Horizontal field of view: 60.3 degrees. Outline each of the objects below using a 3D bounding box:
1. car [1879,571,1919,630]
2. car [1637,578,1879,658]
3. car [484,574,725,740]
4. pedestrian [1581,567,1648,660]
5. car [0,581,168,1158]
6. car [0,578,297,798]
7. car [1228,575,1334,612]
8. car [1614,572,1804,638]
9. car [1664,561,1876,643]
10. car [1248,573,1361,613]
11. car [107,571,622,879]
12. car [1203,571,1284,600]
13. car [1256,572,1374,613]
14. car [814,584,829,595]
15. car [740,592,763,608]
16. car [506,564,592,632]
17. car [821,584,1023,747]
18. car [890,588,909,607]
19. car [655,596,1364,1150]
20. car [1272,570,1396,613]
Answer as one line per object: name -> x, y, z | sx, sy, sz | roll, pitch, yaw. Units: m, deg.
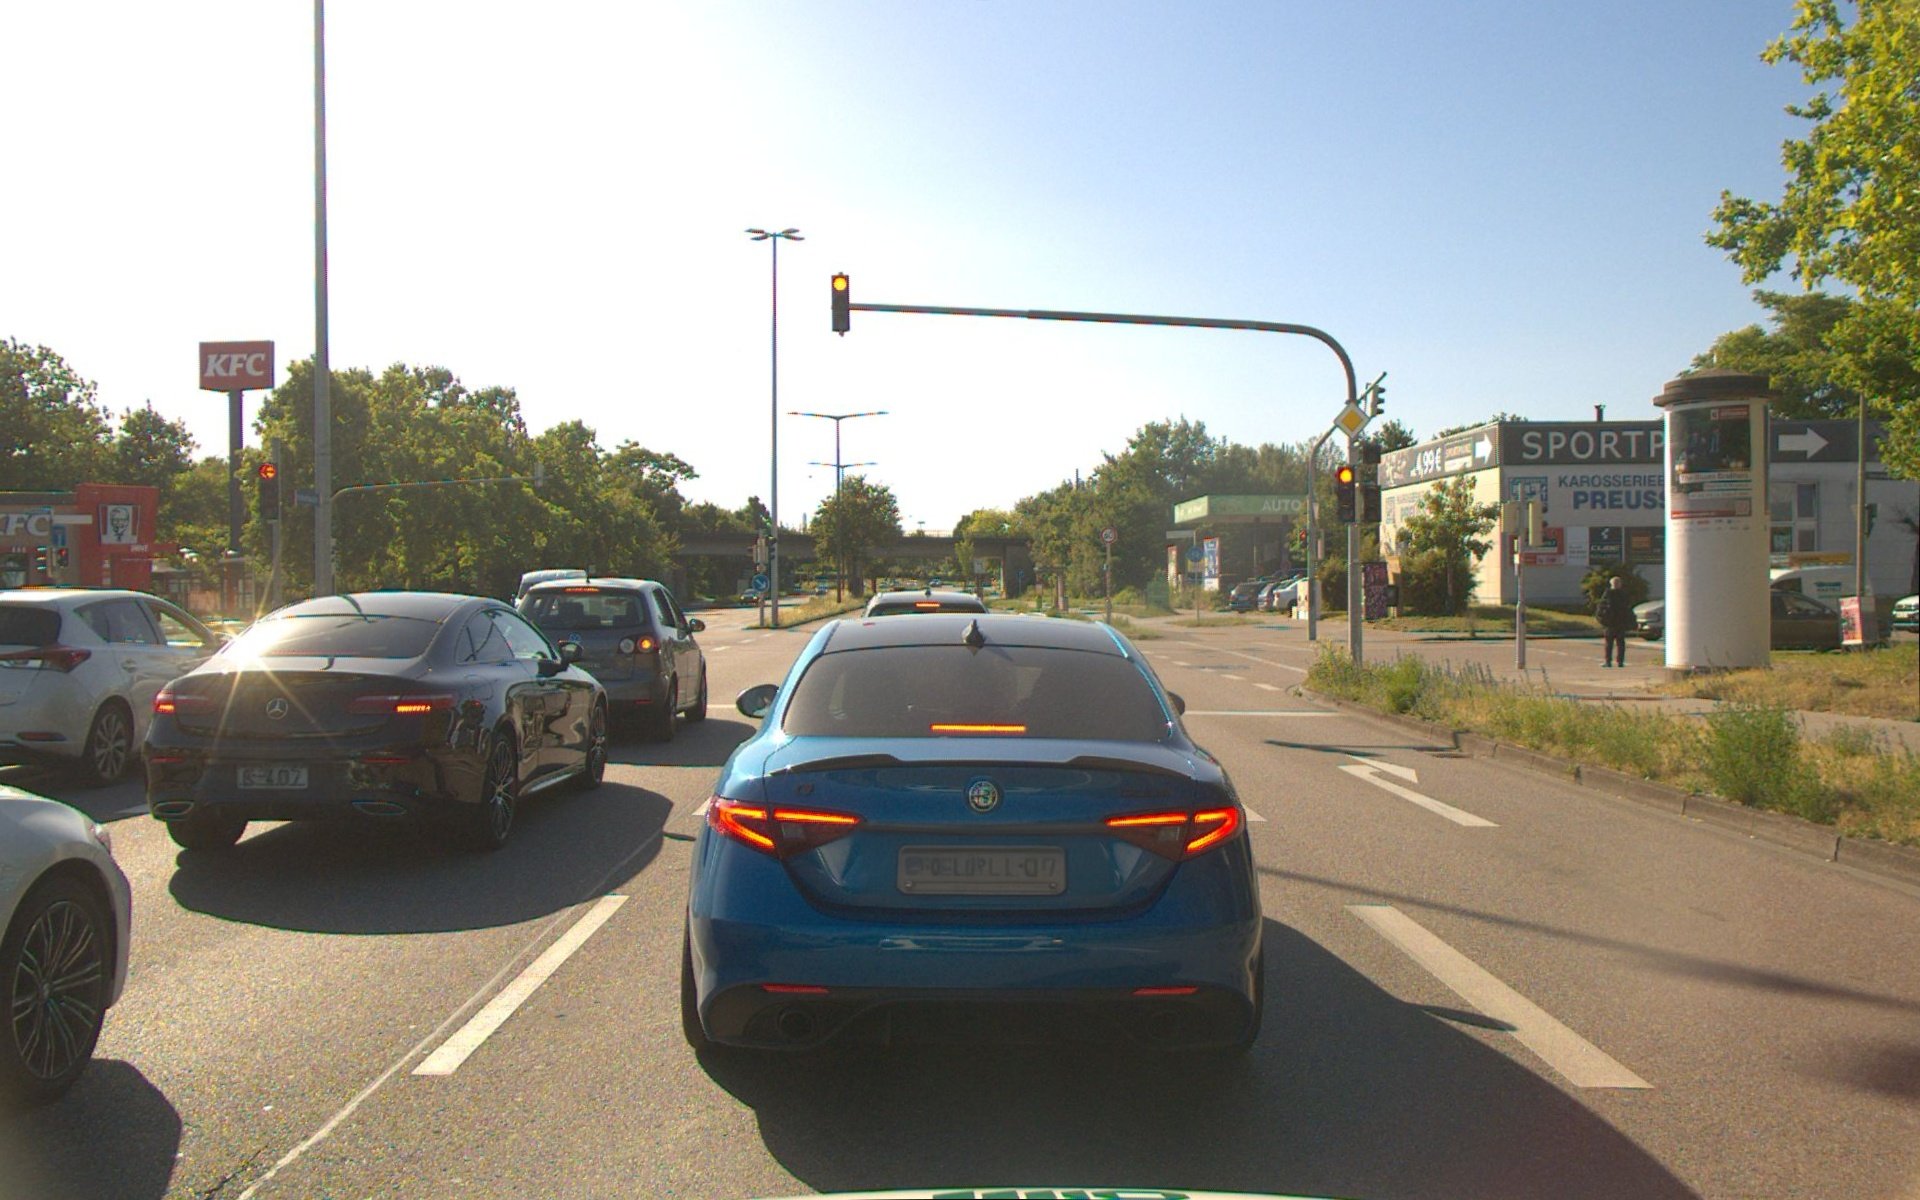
car -> 26.804, -0.057, 43.765 | 3.960, 1.516, 1.782 | -2, 0, -3
car -> 17.158, 0.370, 35.687 | 4.320, 1.516, 1.765 | -2, 0, 1
car -> -3.621, 0.543, 17.628 | 1.723, 1.516, 4.401 | 1, 0, -2
pedestrian -> 12.660, 0.264, 32.016 | 0.906, 1.765, 0.938 | 1, -1, -1
car -> -3.340, 0.688, 3.026 | 1.749, 1.516, 4.401 | 1, 0, -2
car -> -7.099, 0.610, 13.547 | 1.723, 1.516, 4.195 | 1, 0, -2
car -> 14.399, -0.287, 74.354 | 4.397, 1.479, 1.858 | -2, 0, 1
car -> 19.597, 0.113, 43.355 | 4.201, 1.576, 1.764 | -1, 2, -2
car -> 19.561, 0.024, 40.018 | 4.293, 1.833, 1.764 | -1, 2, -2
car -> 14.628, -0.295, 70.307 | 4.397, 1.479, 1.858 | -2, 0, 1
car -> -3.436, 0.639, 10.530 | 1.760, 1.516, 4.474 | 1, 0, -2
car -> 16.721, -0.846, 97.562 | 4.457, 1.516, 1.765 | -2, 0, 1
car -> 14.485, -0.318, 67.551 | 4.397, 1.479, 1.858 | -2, 0, 1
car -> -18.960, -1.418, 226.072 | 1.723, 1.516, 4.477 | -2, 0, -1
car -> -20.873, 0.023, 165.830 | 1.723, 1.516, 4.477 | -2, 0, -1
car -> -16.410, -0.070, 66.344 | 1.981, 2.489, 5.820 | -3, 0, -1
car -> -0.411, 0.605, 17.200 | 1.813, 1.443, 4.401 | 1, 0, -2
car -> -6.368, -0.247, 173.257 | 1.853, 1.847, 3.999 | 1, 0, -1
car -> 0.071, 0.734, 6.572 | 1.857, 1.443, 4.401 | 1, 0, -2
car -> 14.608, -0.319, 64.774 | 4.397, 1.479, 1.858 | -2, 0, 1
